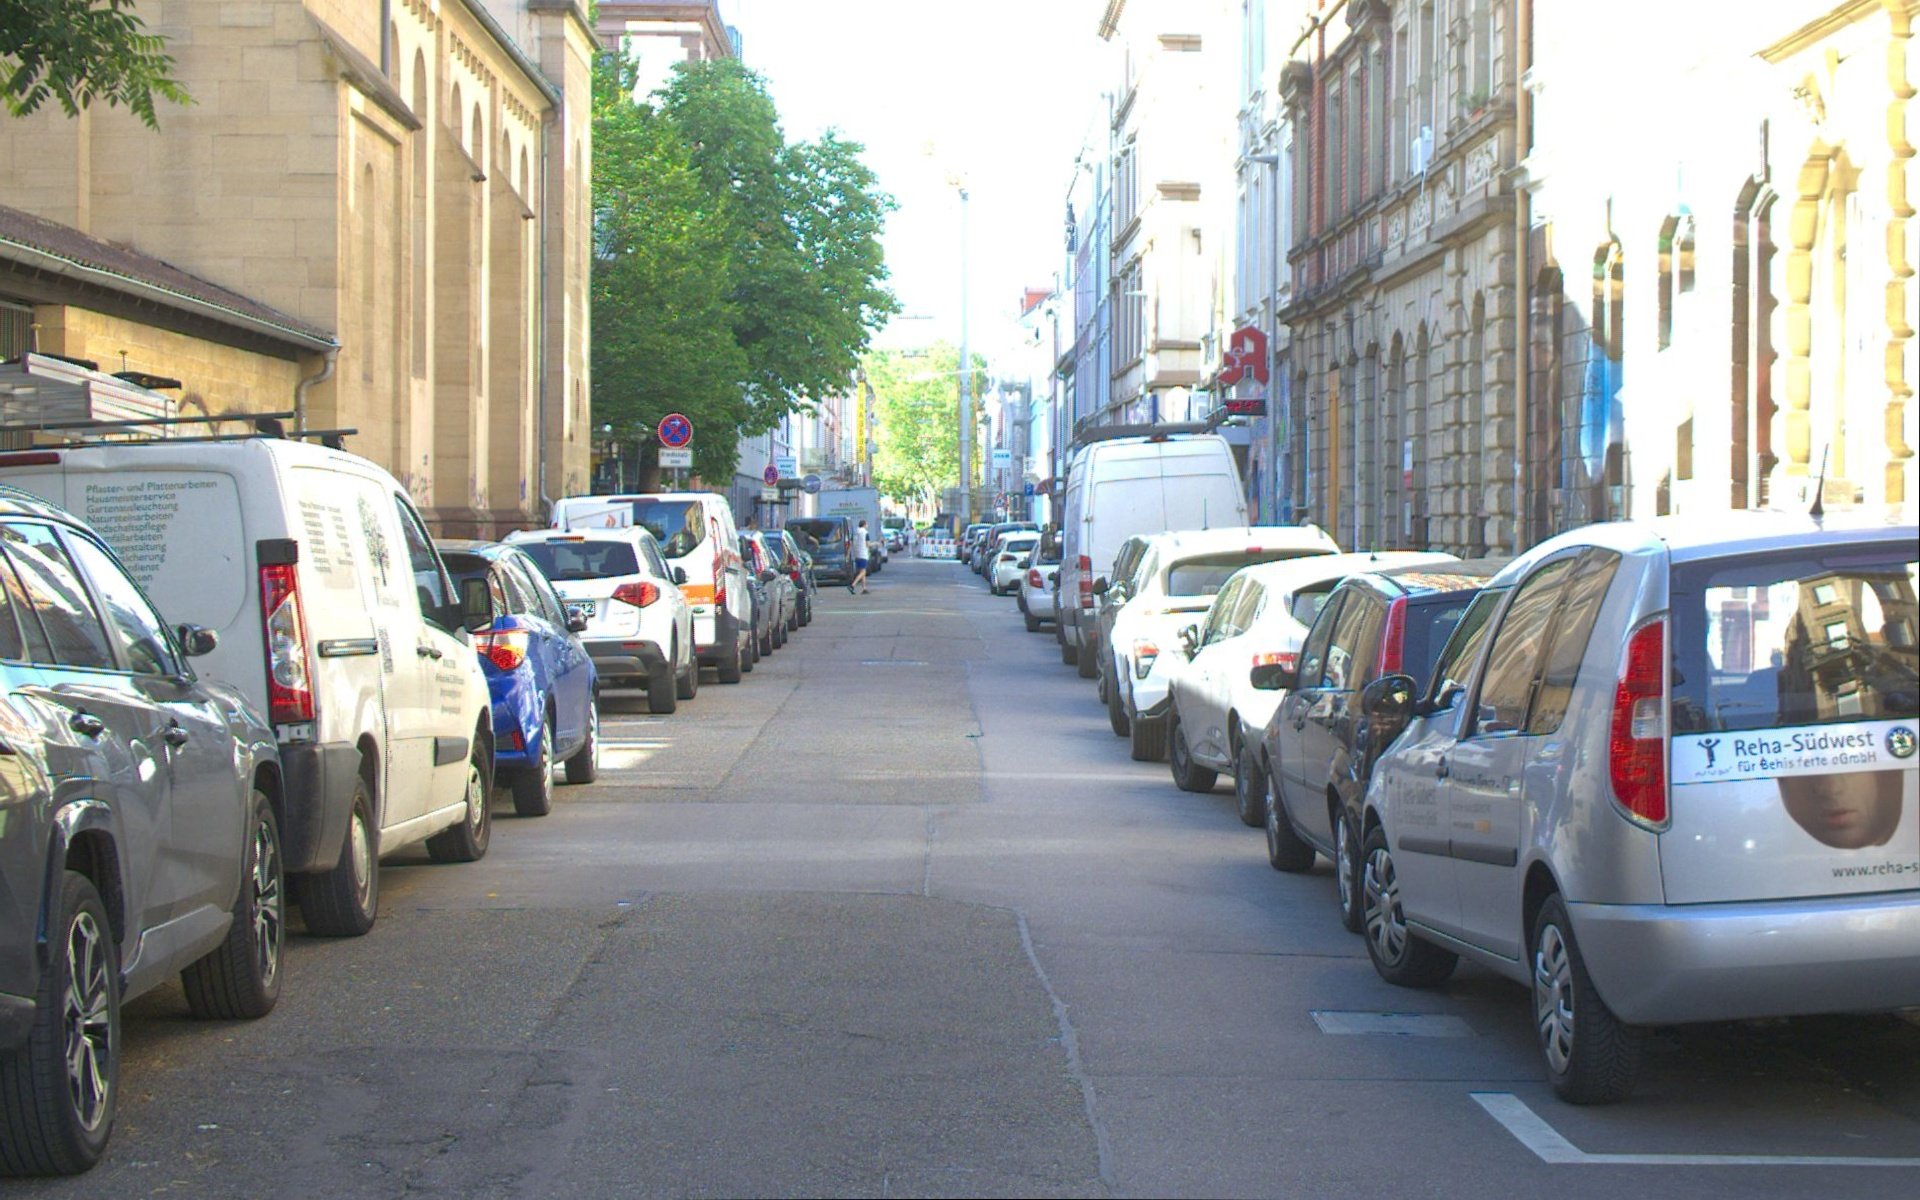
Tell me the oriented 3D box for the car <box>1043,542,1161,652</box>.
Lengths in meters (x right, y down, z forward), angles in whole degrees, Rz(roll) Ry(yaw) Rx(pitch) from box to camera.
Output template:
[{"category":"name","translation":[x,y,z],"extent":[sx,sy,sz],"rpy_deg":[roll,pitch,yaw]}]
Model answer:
[{"category":"car","translation":[2.089,-0.075,51.236],"extent":[1.570,1.490,3.653],"rpy_deg":[3,1,1]}]

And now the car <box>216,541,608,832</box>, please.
[{"category":"car","translation":[-3.070,0.420,19.953],"extent":[1.687,1.471,3.860],"rpy_deg":[-1,1,-1]}]

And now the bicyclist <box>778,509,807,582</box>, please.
[{"category":"bicyclist","translation":[-3.907,-1.285,80.271],"extent":[0.605,1.682,0.885],"rpy_deg":[1,1,0]}]

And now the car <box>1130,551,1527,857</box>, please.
[{"category":"car","translation":[2.074,0.531,20.381],"extent":[1.572,1.520,3.909],"rpy_deg":[3,1,-4]}]

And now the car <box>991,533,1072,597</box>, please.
[{"category":"car","translation":[1.741,-0.880,84.558],"extent":[1.897,1.483,3.869],"rpy_deg":[1,1,0]}]

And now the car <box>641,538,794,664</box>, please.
[{"category":"car","translation":[-2.950,-0.025,42.434],"extent":[1.615,1.447,3.950],"rpy_deg":[-1,1,0]}]

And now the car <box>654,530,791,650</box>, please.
[{"category":"car","translation":[-3.215,-0.169,47.034],"extent":[1.673,1.553,4.000],"rpy_deg":[0,1,-1]}]

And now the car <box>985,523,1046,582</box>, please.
[{"category":"car","translation":[1.676,-1.462,105.058],"extent":[1.769,1.735,4.000],"rpy_deg":[1,1,0]}]

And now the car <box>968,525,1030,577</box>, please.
[{"category":"car","translation":[1.328,-1.713,118.607],"extent":[1.993,1.626,4.000],"rpy_deg":[4,1,0]}]

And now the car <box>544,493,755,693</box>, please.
[{"category":"car","translation":[-3.198,-0.121,36.226],"extent":[1.864,1.950,4.611],"rpy_deg":[-1,1,-1]}]

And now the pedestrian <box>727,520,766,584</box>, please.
[{"category":"pedestrian","translation":[-5.579,-1.260,89.840],"extent":[0.929,1.631,0.806],"rpy_deg":[1,1,1]}]

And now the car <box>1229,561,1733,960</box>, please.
[{"category":"car","translation":[2.178,0.607,15.259],"extent":[1.535,1.508,3.682],"rpy_deg":[0,1,-2]}]

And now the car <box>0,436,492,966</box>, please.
[{"category":"car","translation":[-3.220,0.288,14.377],"extent":[1.845,1.856,4.465],"rpy_deg":[1,2,1]}]

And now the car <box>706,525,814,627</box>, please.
[{"category":"car","translation":[-3.299,-0.419,57.255],"extent":[1.600,1.608,3.809],"rpy_deg":[-1,1,-1]}]

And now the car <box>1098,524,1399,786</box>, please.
[{"category":"car","translation":[2.040,0.345,25.444],"extent":[1.808,1.684,4.214],"rpy_deg":[3,1,0]}]

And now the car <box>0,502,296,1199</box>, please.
[{"category":"car","translation":[-2.988,0.552,9.235],"extent":[1.740,1.641,4.290],"rpy_deg":[1,1,-3]}]

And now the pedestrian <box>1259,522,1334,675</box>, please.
[{"category":"pedestrian","translation":[3.970,-0.027,40.632],"extent":[0.639,1.766,0.679],"rpy_deg":[3,1,-10]}]

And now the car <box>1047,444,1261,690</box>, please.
[{"category":"car","translation":[2.174,-0.434,40.096],"extent":[2.068,2.602,5.888],"rpy_deg":[2,1,0]}]

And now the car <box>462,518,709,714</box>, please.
[{"category":"car","translation":[-3.244,0.090,30.444],"extent":[1.742,1.581,3.869],"rpy_deg":[2,1,0]}]

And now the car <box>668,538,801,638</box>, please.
[{"category":"car","translation":[-3.397,-0.214,52.345],"extent":[1.570,1.393,3.808],"rpy_deg":[-2,1,2]}]

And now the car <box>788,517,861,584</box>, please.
[{"category":"car","translation":[-3.783,-1.409,96.618],"extent":[1.875,1.790,4.000],"rpy_deg":[1,1,0]}]

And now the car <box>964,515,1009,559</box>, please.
[{"category":"car","translation":[1.229,-2.975,161.046],"extent":[1.993,2.007,4.000],"rpy_deg":[1,1,0]}]

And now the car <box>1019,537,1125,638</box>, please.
[{"category":"car","translation":[1.791,-0.231,56.081],"extent":[1.604,1.499,4.000],"rpy_deg":[2,1,1]}]

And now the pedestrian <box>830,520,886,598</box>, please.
[{"category":"pedestrian","translation":[-2.435,-0.981,82.188],"extent":[1.009,1.837,0.785],"rpy_deg":[1,2,-44]}]

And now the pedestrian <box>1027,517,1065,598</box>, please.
[{"category":"pedestrian","translation":[1.977,-0.976,79.439],"extent":[0.681,1.837,0.695],"rpy_deg":[2,1,-12]}]

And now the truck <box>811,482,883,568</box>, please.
[{"category":"truck","translation":[-4.391,-2.941,134.800],"extent":[2.532,3.270,6.995],"rpy_deg":[1,1,0]}]

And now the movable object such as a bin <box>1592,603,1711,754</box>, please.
[{"category":"movable object such as a bin","translation":[4.992,0.559,24.826],"extent":[0.548,1.049,0.603],"rpy_deg":[-3,2,-33]}]

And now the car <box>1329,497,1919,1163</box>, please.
[{"category":"car","translation":[2.302,0.546,10.798],"extent":[1.703,1.708,3.938],"rpy_deg":[0,1,-2]}]

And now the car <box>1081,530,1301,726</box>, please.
[{"category":"car","translation":[2.059,0.199,31.522],"extent":[1.687,1.637,3.925],"rpy_deg":[1,1,0]}]
